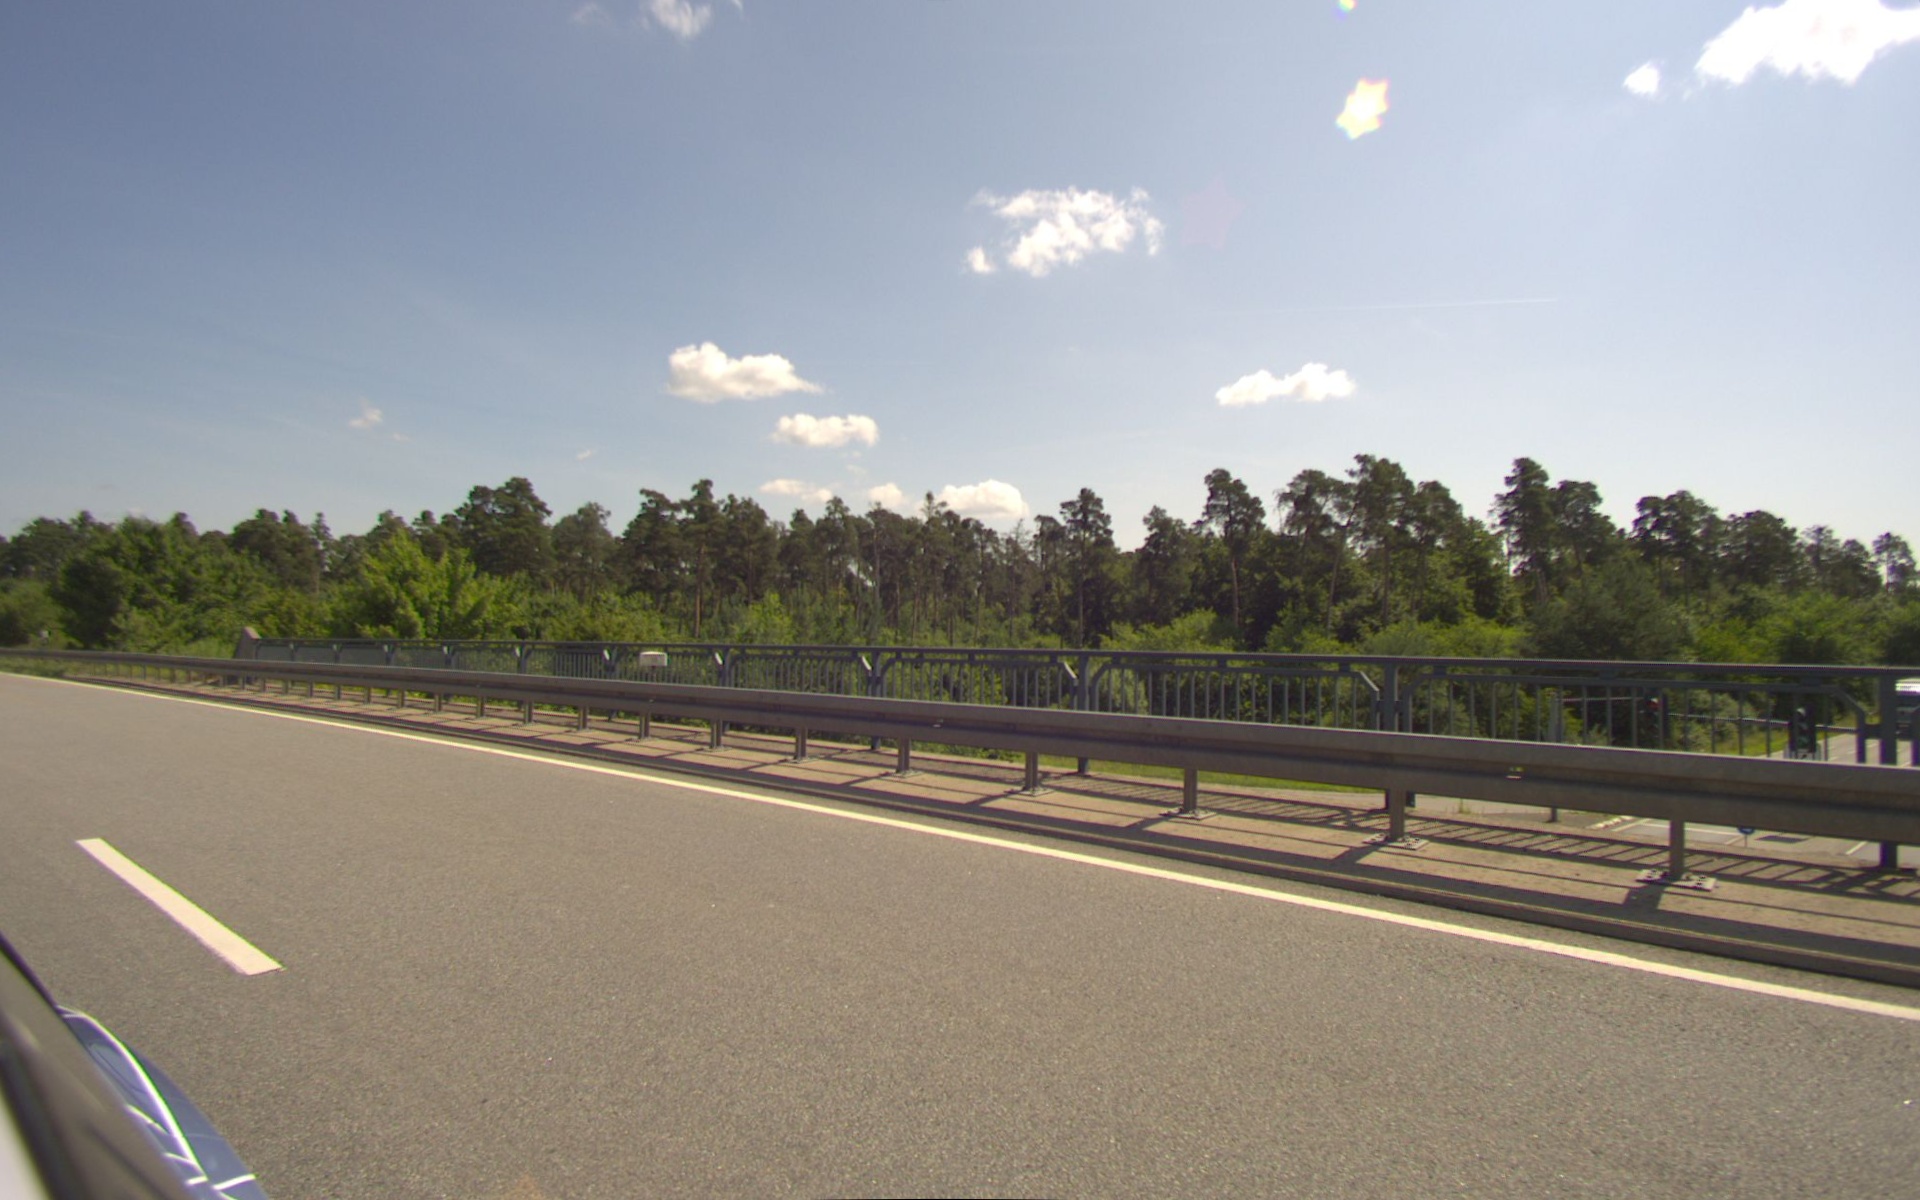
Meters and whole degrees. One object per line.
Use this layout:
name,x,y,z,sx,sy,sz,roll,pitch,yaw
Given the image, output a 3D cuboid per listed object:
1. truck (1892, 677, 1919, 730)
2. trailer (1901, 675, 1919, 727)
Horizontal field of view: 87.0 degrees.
truck,82.667,8.862,86.966,5.250,4.033,2.622,-1,0,-34
trailer,88.363,8.764,90.885,14.149,4.033,2.622,-1,0,-34
